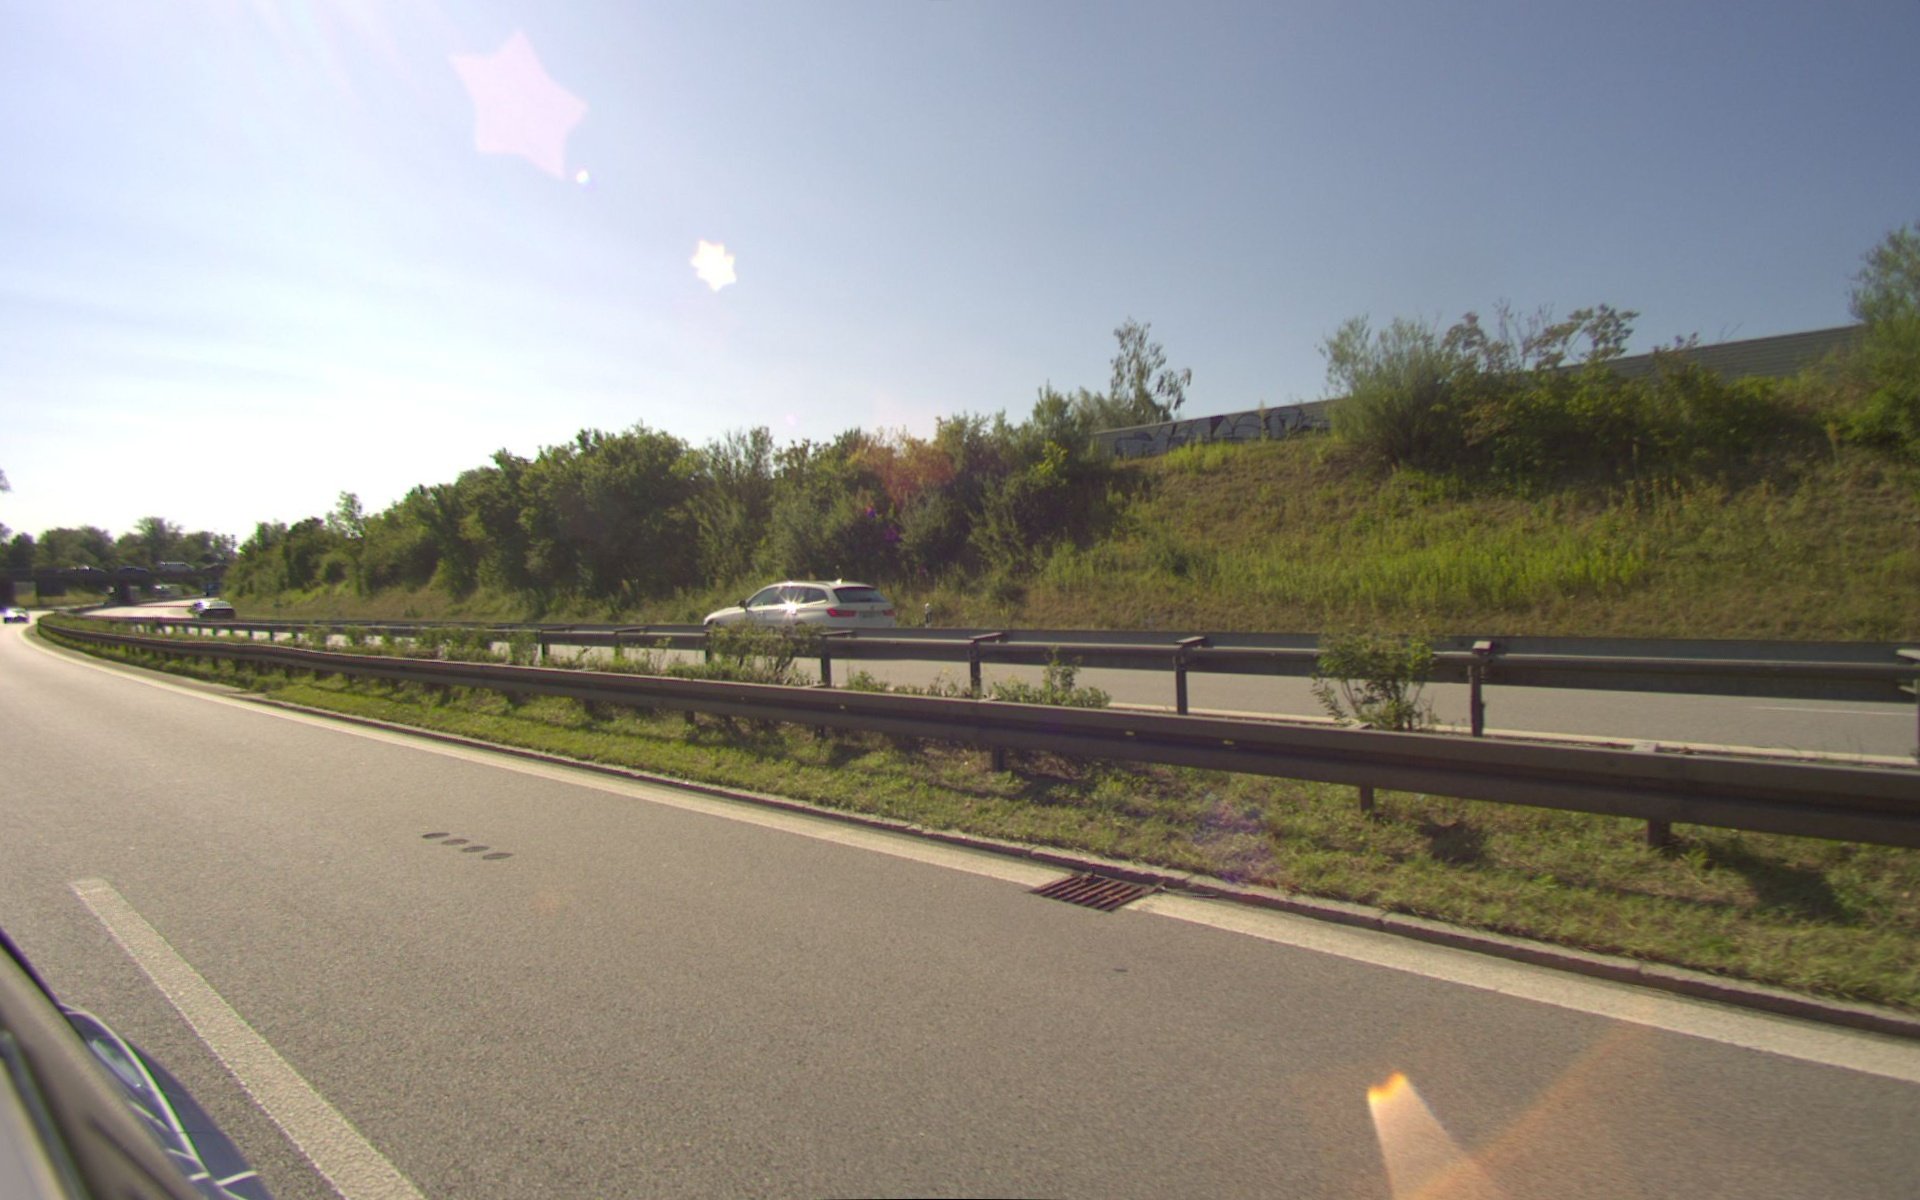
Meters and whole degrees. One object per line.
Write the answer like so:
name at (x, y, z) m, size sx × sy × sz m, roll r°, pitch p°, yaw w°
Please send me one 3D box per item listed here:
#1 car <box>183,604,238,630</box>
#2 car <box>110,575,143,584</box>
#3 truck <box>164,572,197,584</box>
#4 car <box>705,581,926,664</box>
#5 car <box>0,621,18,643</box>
car at (-47.607, 1.073, 64.223) m, size 5.174 × 1.576 × 1.945 m, roll -1°, pitch -1°, yaw 43°
car at (-151.201, -3.680, 183.621) m, size 4.369 × 1.567 × 1.911 m, roll -1°, pitch 2°, yaw -35°
truck at (-144.922, -4.037, 188.176) m, size 4.792 × 2.183 × 2.005 m, roll -1°, pitch 2°, yaw -36°
car at (-2.915, 0.448, 19.793) m, size 4.396 × 1.433 × 1.880 m, roll -2°, pitch -2°, yaw 41°
car at (-91.566, 3.081, 96.823) m, size 1.971 × 2.028 × 4.602 m, roll -4°, pitch 2°, yaw -44°
